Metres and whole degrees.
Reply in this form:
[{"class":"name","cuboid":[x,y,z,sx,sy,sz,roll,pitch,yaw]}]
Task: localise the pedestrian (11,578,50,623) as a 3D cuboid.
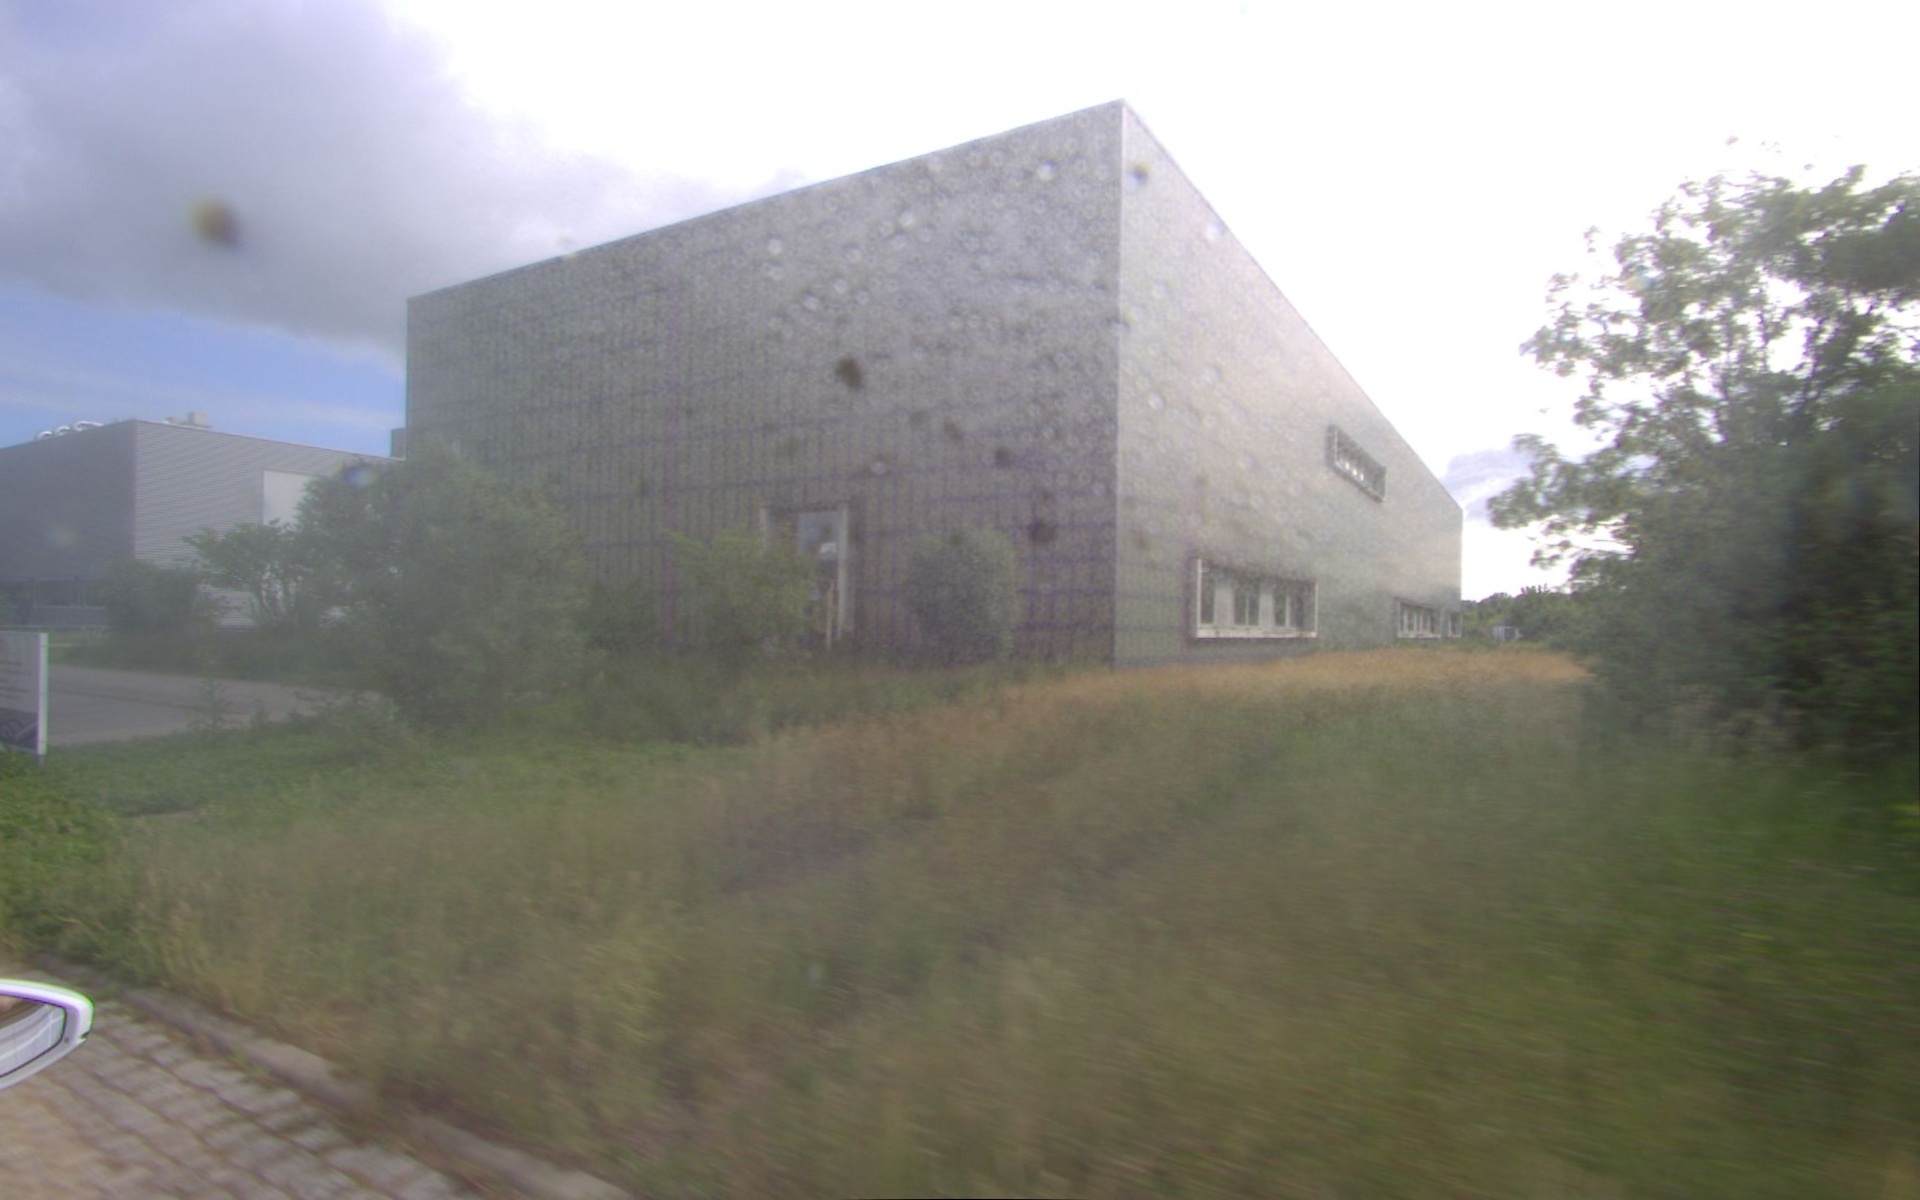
[{"class":"pedestrian","cuboid":[-41.817,0.023,45.049,0.838,1.962,0.920,1,0,2]}]
